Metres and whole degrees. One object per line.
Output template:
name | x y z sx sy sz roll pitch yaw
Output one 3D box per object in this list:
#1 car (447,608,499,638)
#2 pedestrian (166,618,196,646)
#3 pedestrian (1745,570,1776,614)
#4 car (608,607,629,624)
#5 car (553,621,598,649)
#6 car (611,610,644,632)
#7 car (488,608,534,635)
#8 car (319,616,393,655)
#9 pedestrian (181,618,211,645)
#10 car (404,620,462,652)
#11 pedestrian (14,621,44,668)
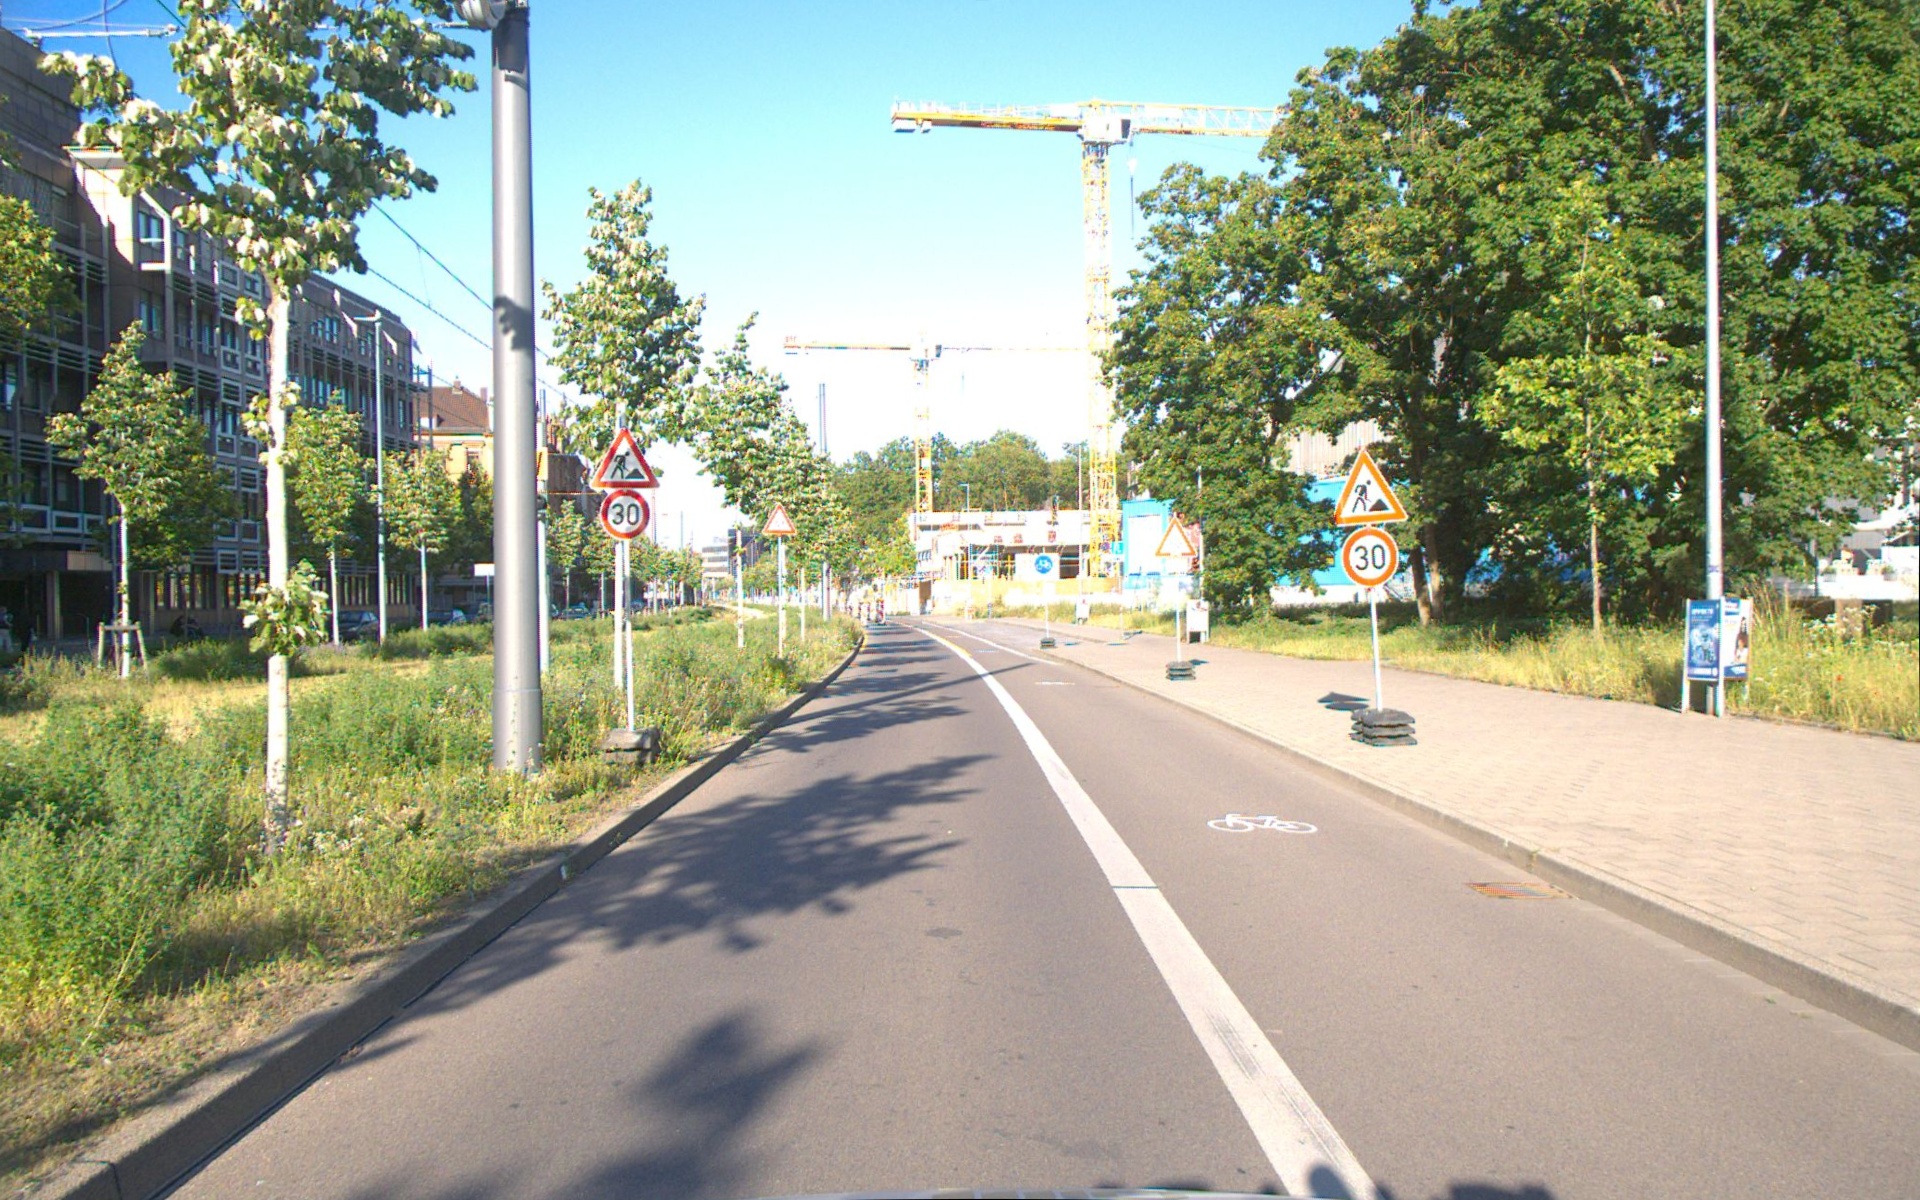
car | -27.719 1.269 94.252 1.865 1.603 4.299 -1 0 -2
pedestrian | -33.898 1.397 71.989 0.882 1.189 0.865 -1 0 -3
pedestrian | 37.255 -0.367 76.989 0.900 2.049 0.940 0 -2 -30
car | -34.346 1.561 166.559 1.868 1.603 4.292 -1 0 -9
car | -23.920 2.167 103.034 1.865 1.603 4.408 -1 0 -2
car | -26.312 1.651 131.116 1.865 1.603 4.299 -1 0 -2
car | -28.341 1.367 104.456 1.865 1.603 4.299 -1 0 -2
car | -26.974 1.547 73.965 1.865 1.603 4.299 -1 0 -2
pedestrian | -33.761 1.390 73.078 0.881 1.189 0.899 -1 0 -1
car | -28.068 1.887 88.167 1.865 1.603 4.299 -1 0 -2
pedestrian | -31.186 1.485 55.428 0.651 1.559 0.648 -1 0 -6
